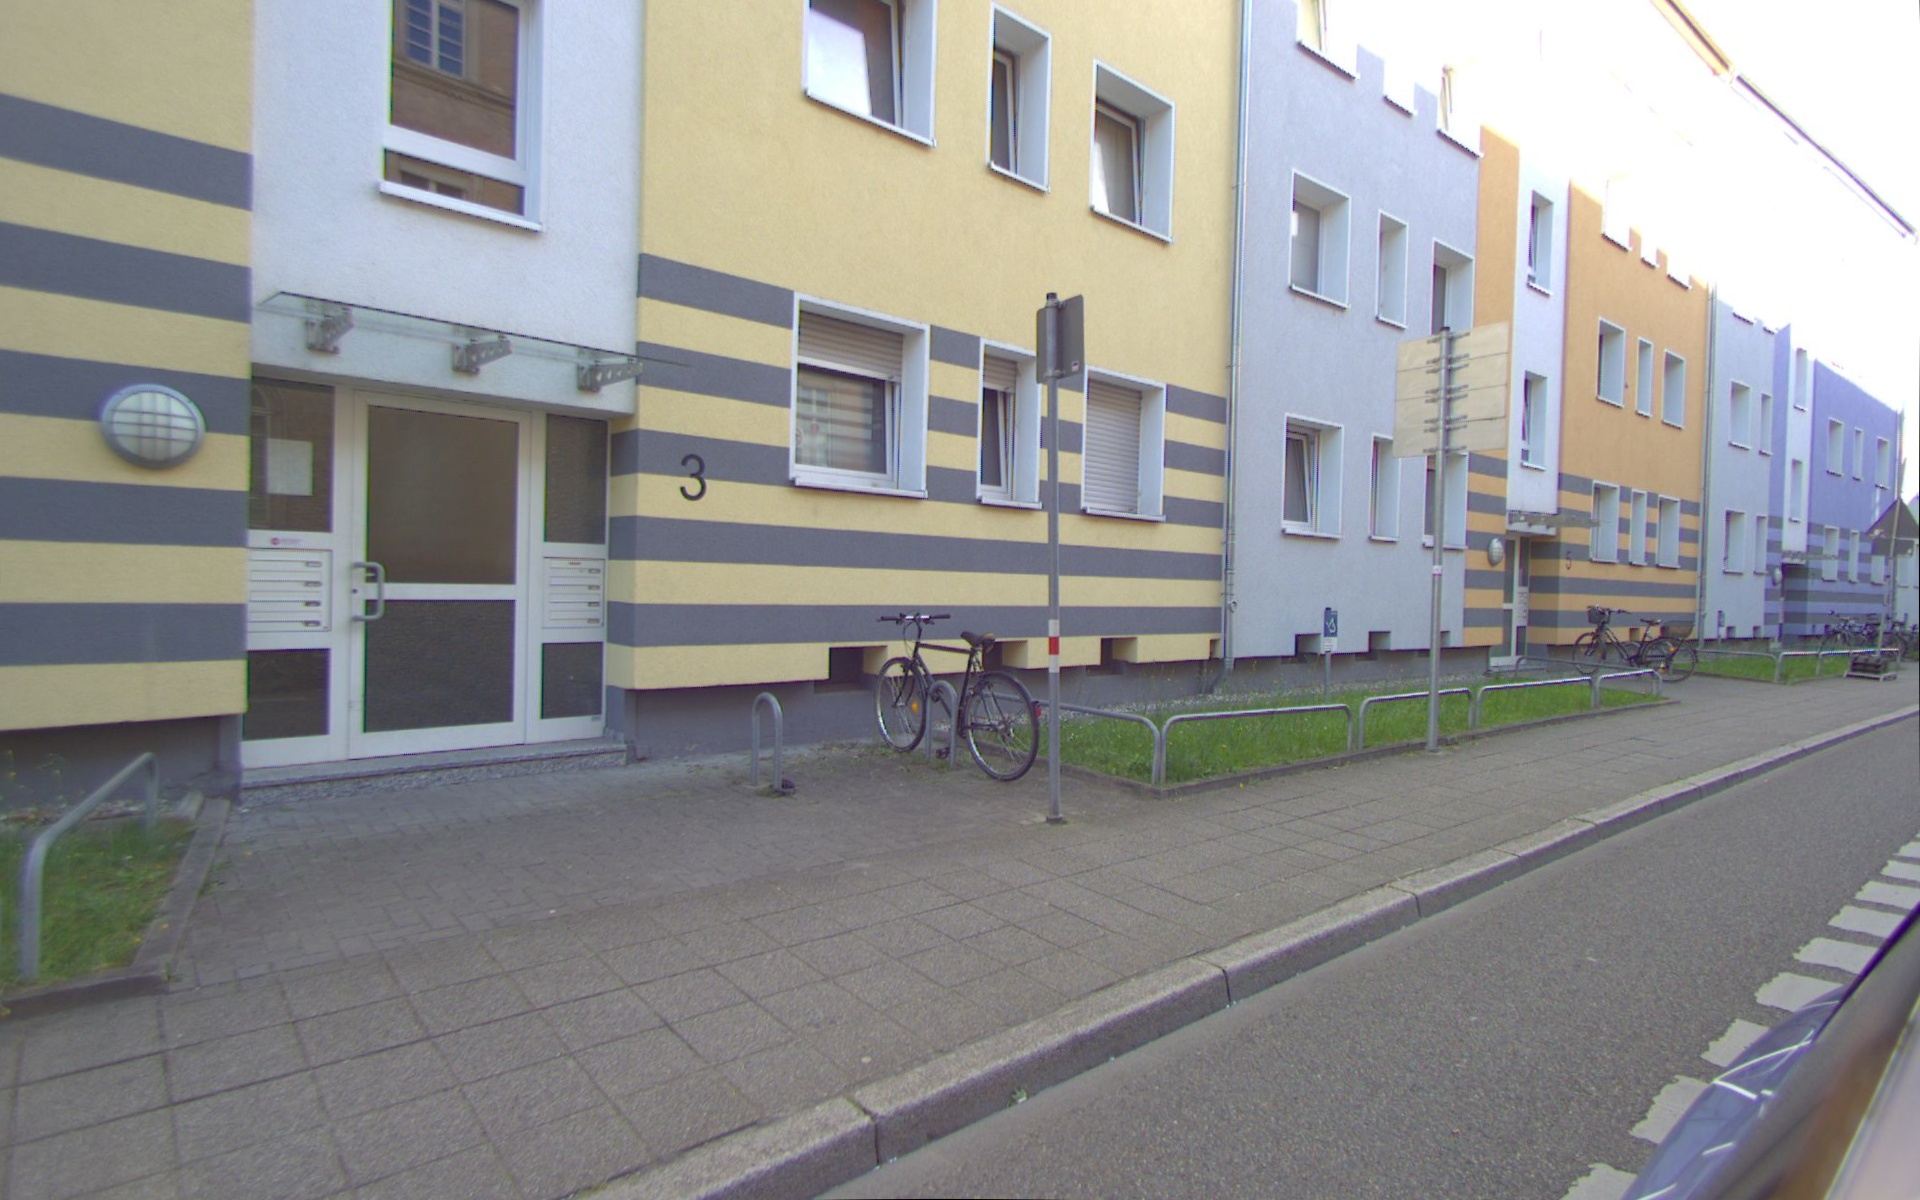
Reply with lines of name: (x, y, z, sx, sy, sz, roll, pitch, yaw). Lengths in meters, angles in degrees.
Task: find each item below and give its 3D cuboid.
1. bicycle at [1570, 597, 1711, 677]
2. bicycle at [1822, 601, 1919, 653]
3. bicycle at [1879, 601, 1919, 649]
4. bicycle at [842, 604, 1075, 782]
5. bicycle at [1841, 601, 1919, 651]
bicycle: (10.697, 0.552, 15.959, 1.775, 1.137, 0.476, 3, 1, 44)
bicycle: (22.236, 0.650, 24.742, 0.475, 1.166, 1.678, 1, 1, -37)
bicycle: (24.145, 0.645, 25.291, 0.475, 1.166, 1.678, 1, 1, -37)
bicycle: (-0.064, 0.578, 7.030, 1.775, 1.031, 0.476, 3, 1, 44)
bicycle: (23.317, 0.633, 25.435, 0.475, 1.166, 1.678, 1, 1, -37)
